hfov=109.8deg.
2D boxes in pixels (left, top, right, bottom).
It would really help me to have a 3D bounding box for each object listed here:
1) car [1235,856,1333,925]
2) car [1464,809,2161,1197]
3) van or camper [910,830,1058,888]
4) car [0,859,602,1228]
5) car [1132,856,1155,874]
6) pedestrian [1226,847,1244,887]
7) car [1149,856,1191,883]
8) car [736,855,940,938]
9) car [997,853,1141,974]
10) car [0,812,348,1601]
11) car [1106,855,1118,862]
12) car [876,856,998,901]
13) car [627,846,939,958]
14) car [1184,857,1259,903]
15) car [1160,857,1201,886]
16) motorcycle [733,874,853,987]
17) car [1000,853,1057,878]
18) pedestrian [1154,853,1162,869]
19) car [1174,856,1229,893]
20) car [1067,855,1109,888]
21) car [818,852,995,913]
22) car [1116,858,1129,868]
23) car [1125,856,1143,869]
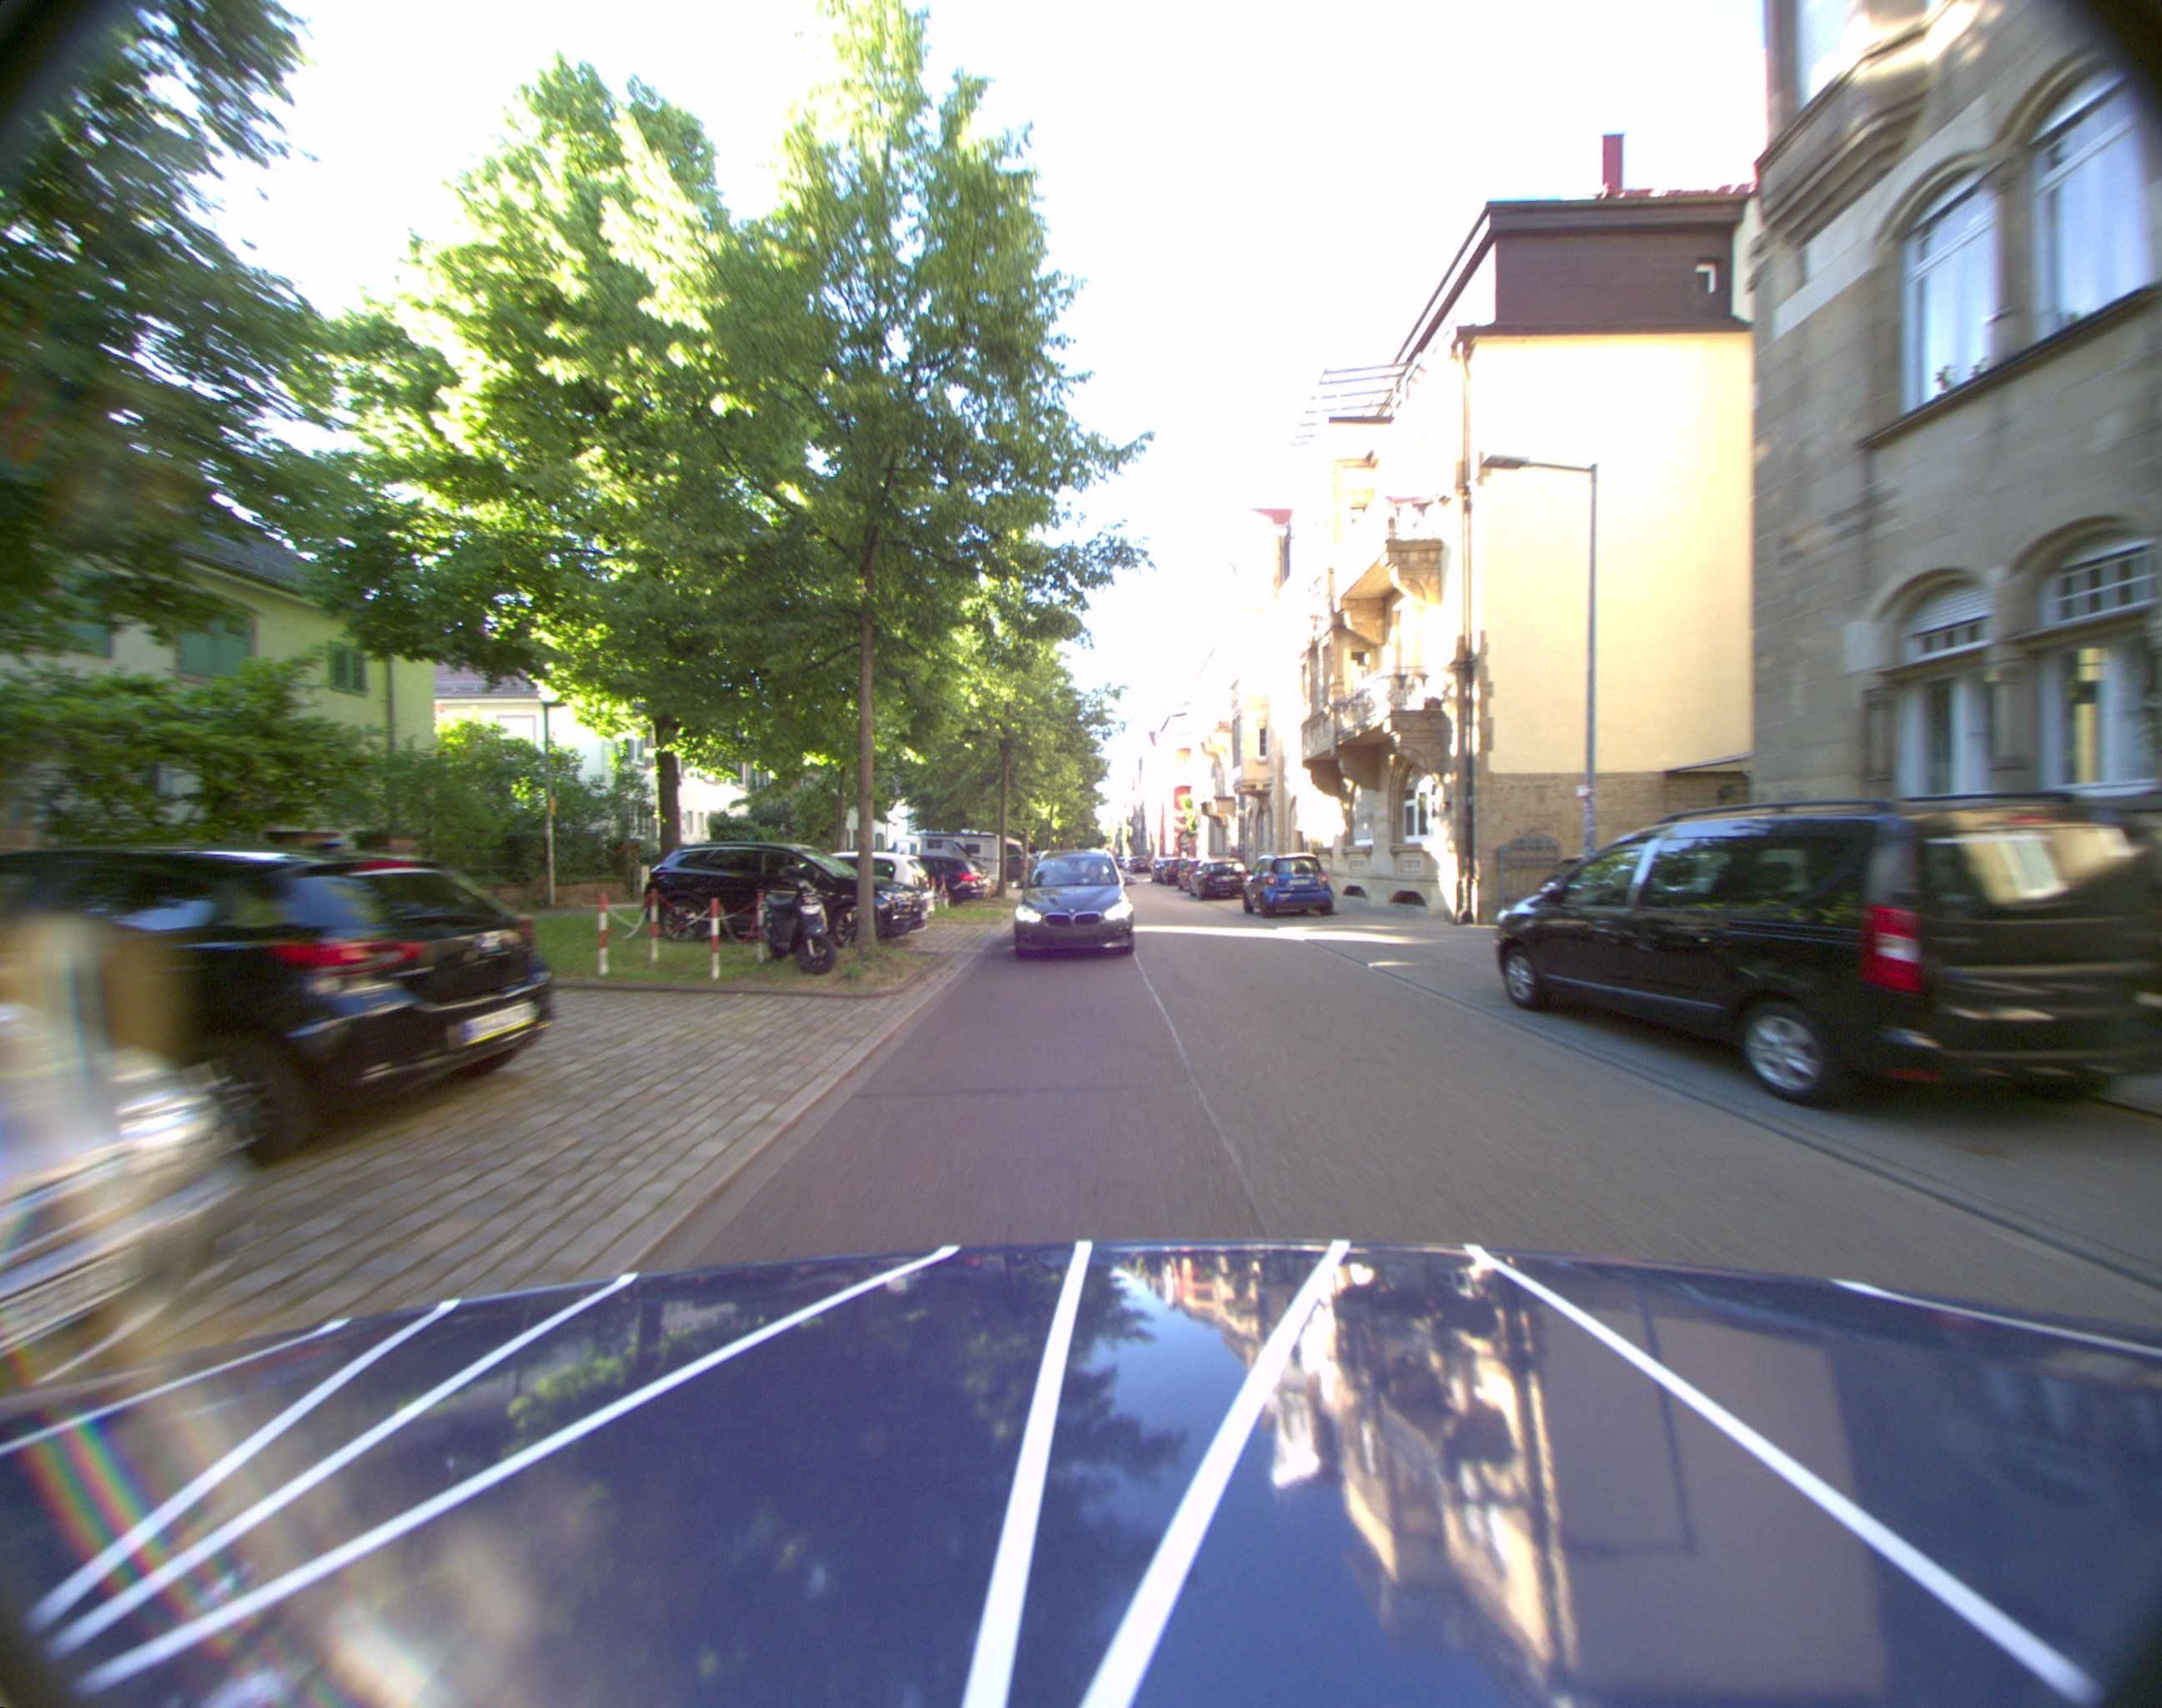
[{"bbox_3d":[5.024,0.848,19.161,1.688,1.500,2.861,-4,0,1],"label":"car"},{"bbox_3d":[4.991,0.718,5.907,1.774,1.841,4.542,-1,0,1],"label":"car"},{"bbox_3d":[-4.865,0.209,39.120,7.266,2.888,2.427,0,2,1],"label":"van or camper"},{"bbox_3d":[-5.102,0.829,4.063,3.886,1.464,1.786,2,1,-4],"label":"car"},{"bbox_3d":[5.973,1.027,73.269,1.862,1.594,4.000,-3,0,1],"label":"car"},{"bbox_3d":[7.232,0.622,35.732,0.695,1.837,0.497,-2,1,3],"label":"pedestrian"},{"bbox_3d":[5.428,0.942,47.037,1.893,1.448,4.510,-4,0,-1],"label":"car"},{"bbox_3d":[-4.715,0.802,15.089,3.456,1.467,1.693,1,0,1],"label":"car"},{"bbox_3d":[-0.112,0.829,12.772,1.924,1.597,4.517,-3,0,1],"label":"car"},{"bbox_3d":[-4.315,0.706,1.566,3.924,1.734,1.729,2,1,1],"label":"car"},{"bbox_3d":[7.026,1.067,174.166,2.000,1.529,3.997,-2,0,-7],"label":"car"},{"bbox_3d":[-5.023,0.827,26.947,3.998,1.510,1.999,0,1,-2],"label":"car"},{"bbox_3d":[-4.695,0.723,12.488,4.344,1.599,1.928,1,1,0],"label":"car"},{"bbox_3d":[5.099,0.903,28.164,1.905,1.430,4.542,-4,0,1],"label":"car"},{"bbox_3d":[5.327,0.902,41.130,1.747,1.457,3.998,-2,0,2],"label":"car"},{"bbox_3d":[-3.536,0.866,9.240,0.739,1.190,1.771,0,0,-43],"label":"motorcycle"},{"bbox_3d":[-3.823,0.838,55.669,3.997,1.804,2.000,0,0,1],"label":"car"},{"bbox_3d":[8.227,0.765,81.244,0.779,1.692,1.010,0,0,1],"label":"pedestrian"},{"bbox_3d":[5.334,0.874,34.035,1.694,1.458,3.773,-4,0,-1],"label":"car"},{"bbox_3d":[0.397,0.846,39.052,1.998,1.510,4.652,-2,0,1],"label":"car"},{"bbox_3d":[-4.798,0.776,21.298,4.468,1.469,1.753,2,0,2],"label":"car"},{"bbox_3d":[5.977,1.246,109.532,1.702,1.372,4.000,0,0,1],"label":"car"},{"bbox_3d":[6.190,0.976,89.315,1.922,1.510,4.000,0,0,1],"label":"car"}]
